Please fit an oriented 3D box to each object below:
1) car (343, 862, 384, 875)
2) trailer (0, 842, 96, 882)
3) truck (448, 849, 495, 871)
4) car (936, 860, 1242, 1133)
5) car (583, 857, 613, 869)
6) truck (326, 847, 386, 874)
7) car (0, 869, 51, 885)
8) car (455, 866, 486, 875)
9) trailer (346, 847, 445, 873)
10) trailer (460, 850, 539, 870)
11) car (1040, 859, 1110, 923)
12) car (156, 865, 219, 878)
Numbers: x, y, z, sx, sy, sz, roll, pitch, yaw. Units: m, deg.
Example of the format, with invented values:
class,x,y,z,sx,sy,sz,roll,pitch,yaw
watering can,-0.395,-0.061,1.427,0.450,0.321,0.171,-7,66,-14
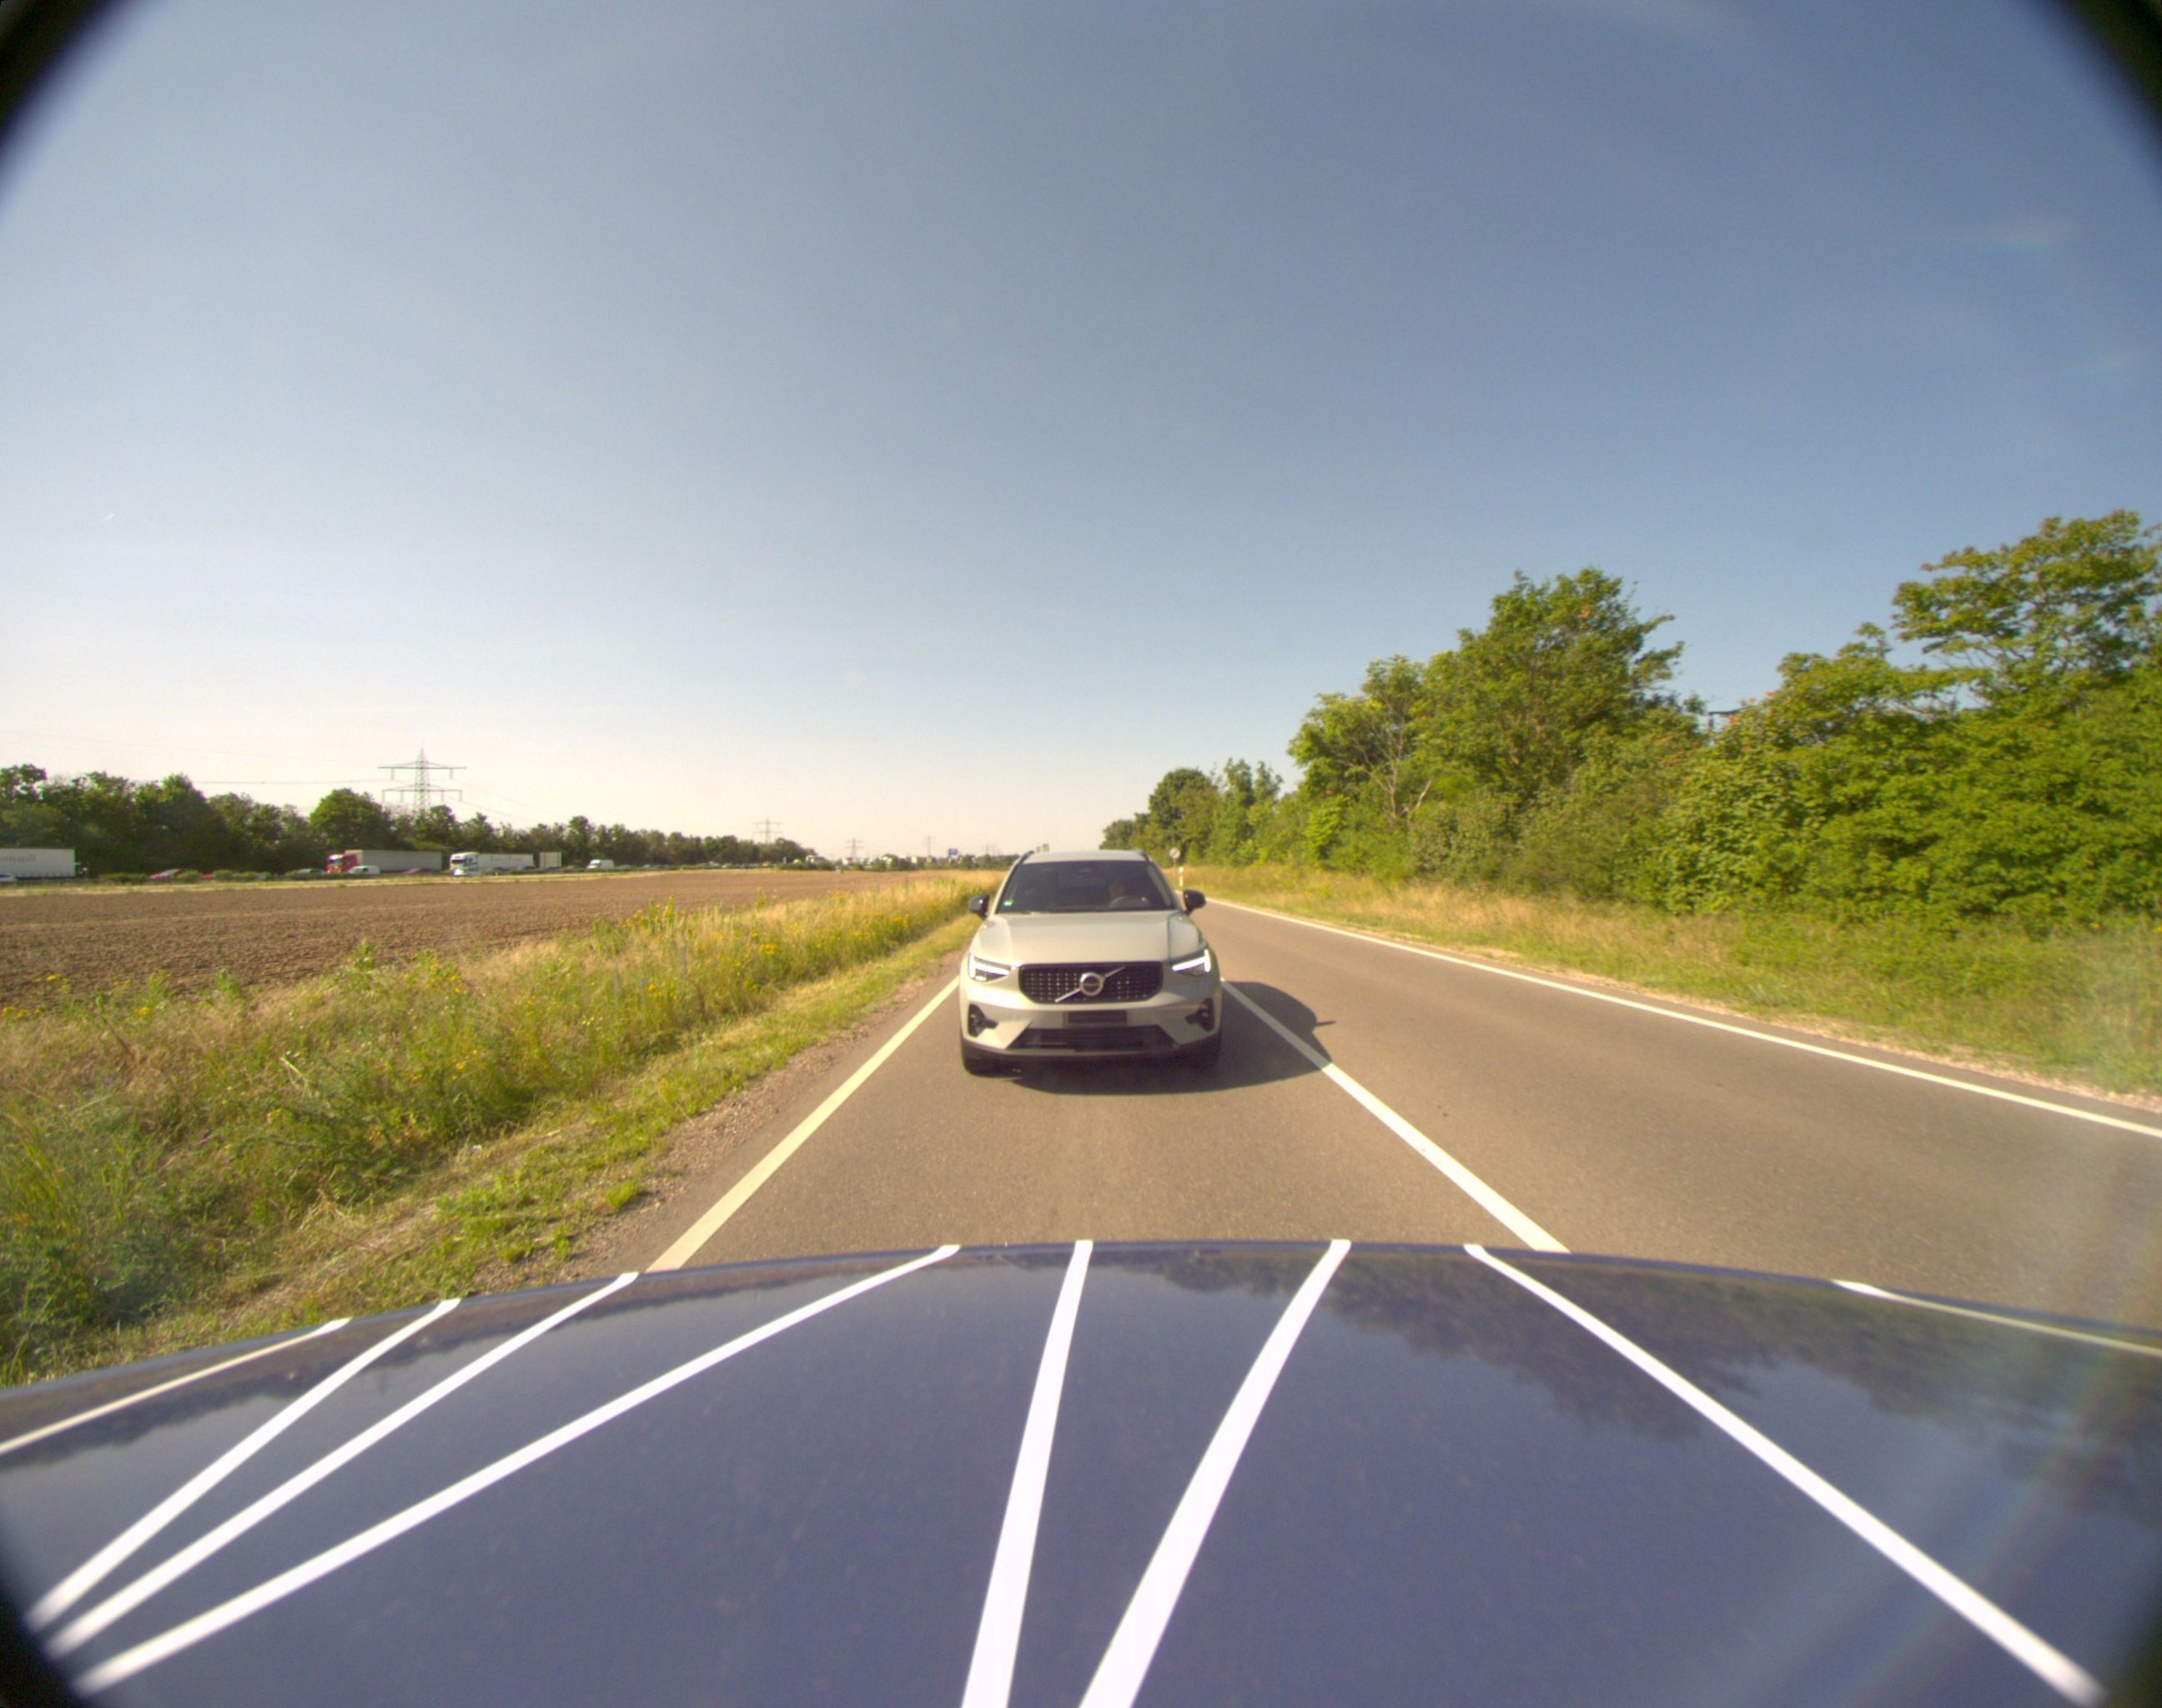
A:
class,x,y,z,sx,sy,sz,roll,pitch,yaw
car,-97.547,1.973,103.407,1.707,1.629,4.093,-2,0,-2
trailer,-102.949,0.769,71.530,3.079,3.711,13.366,-1,0,0
truck,-104.083,1.019,129.879,3.211,3.510,6.108,0,0,-2
car,0.033,0.894,6.738,1.840,1.627,4.135,-1,0,-1
car,-99.801,1.889,157.124,2.042,2.432,6.413,-1,0,-1
truck,-103.983,0.868,109.137,2.953,3.711,5.869,-1,0,-1
car,-97.298,2.099,68.992,1.855,1.377,4.247,-2,-1,-2
car,-89.365,2.370,111.288,1.550,1.227,3.619,-3,-1,-2
trailer,-104.092,0.902,115.868,2.953,3.711,13.781,-1,0,-1
trailer,-104.313,1.061,136.798,3.211,3.510,15.081,0,0,-2
car,-0.213,0.983,21.843,1.790,1.664,4.000,-1,0,-2
car,-97.682,1.907,83.135,1.855,1.377,4.247,-2,-1,-2
